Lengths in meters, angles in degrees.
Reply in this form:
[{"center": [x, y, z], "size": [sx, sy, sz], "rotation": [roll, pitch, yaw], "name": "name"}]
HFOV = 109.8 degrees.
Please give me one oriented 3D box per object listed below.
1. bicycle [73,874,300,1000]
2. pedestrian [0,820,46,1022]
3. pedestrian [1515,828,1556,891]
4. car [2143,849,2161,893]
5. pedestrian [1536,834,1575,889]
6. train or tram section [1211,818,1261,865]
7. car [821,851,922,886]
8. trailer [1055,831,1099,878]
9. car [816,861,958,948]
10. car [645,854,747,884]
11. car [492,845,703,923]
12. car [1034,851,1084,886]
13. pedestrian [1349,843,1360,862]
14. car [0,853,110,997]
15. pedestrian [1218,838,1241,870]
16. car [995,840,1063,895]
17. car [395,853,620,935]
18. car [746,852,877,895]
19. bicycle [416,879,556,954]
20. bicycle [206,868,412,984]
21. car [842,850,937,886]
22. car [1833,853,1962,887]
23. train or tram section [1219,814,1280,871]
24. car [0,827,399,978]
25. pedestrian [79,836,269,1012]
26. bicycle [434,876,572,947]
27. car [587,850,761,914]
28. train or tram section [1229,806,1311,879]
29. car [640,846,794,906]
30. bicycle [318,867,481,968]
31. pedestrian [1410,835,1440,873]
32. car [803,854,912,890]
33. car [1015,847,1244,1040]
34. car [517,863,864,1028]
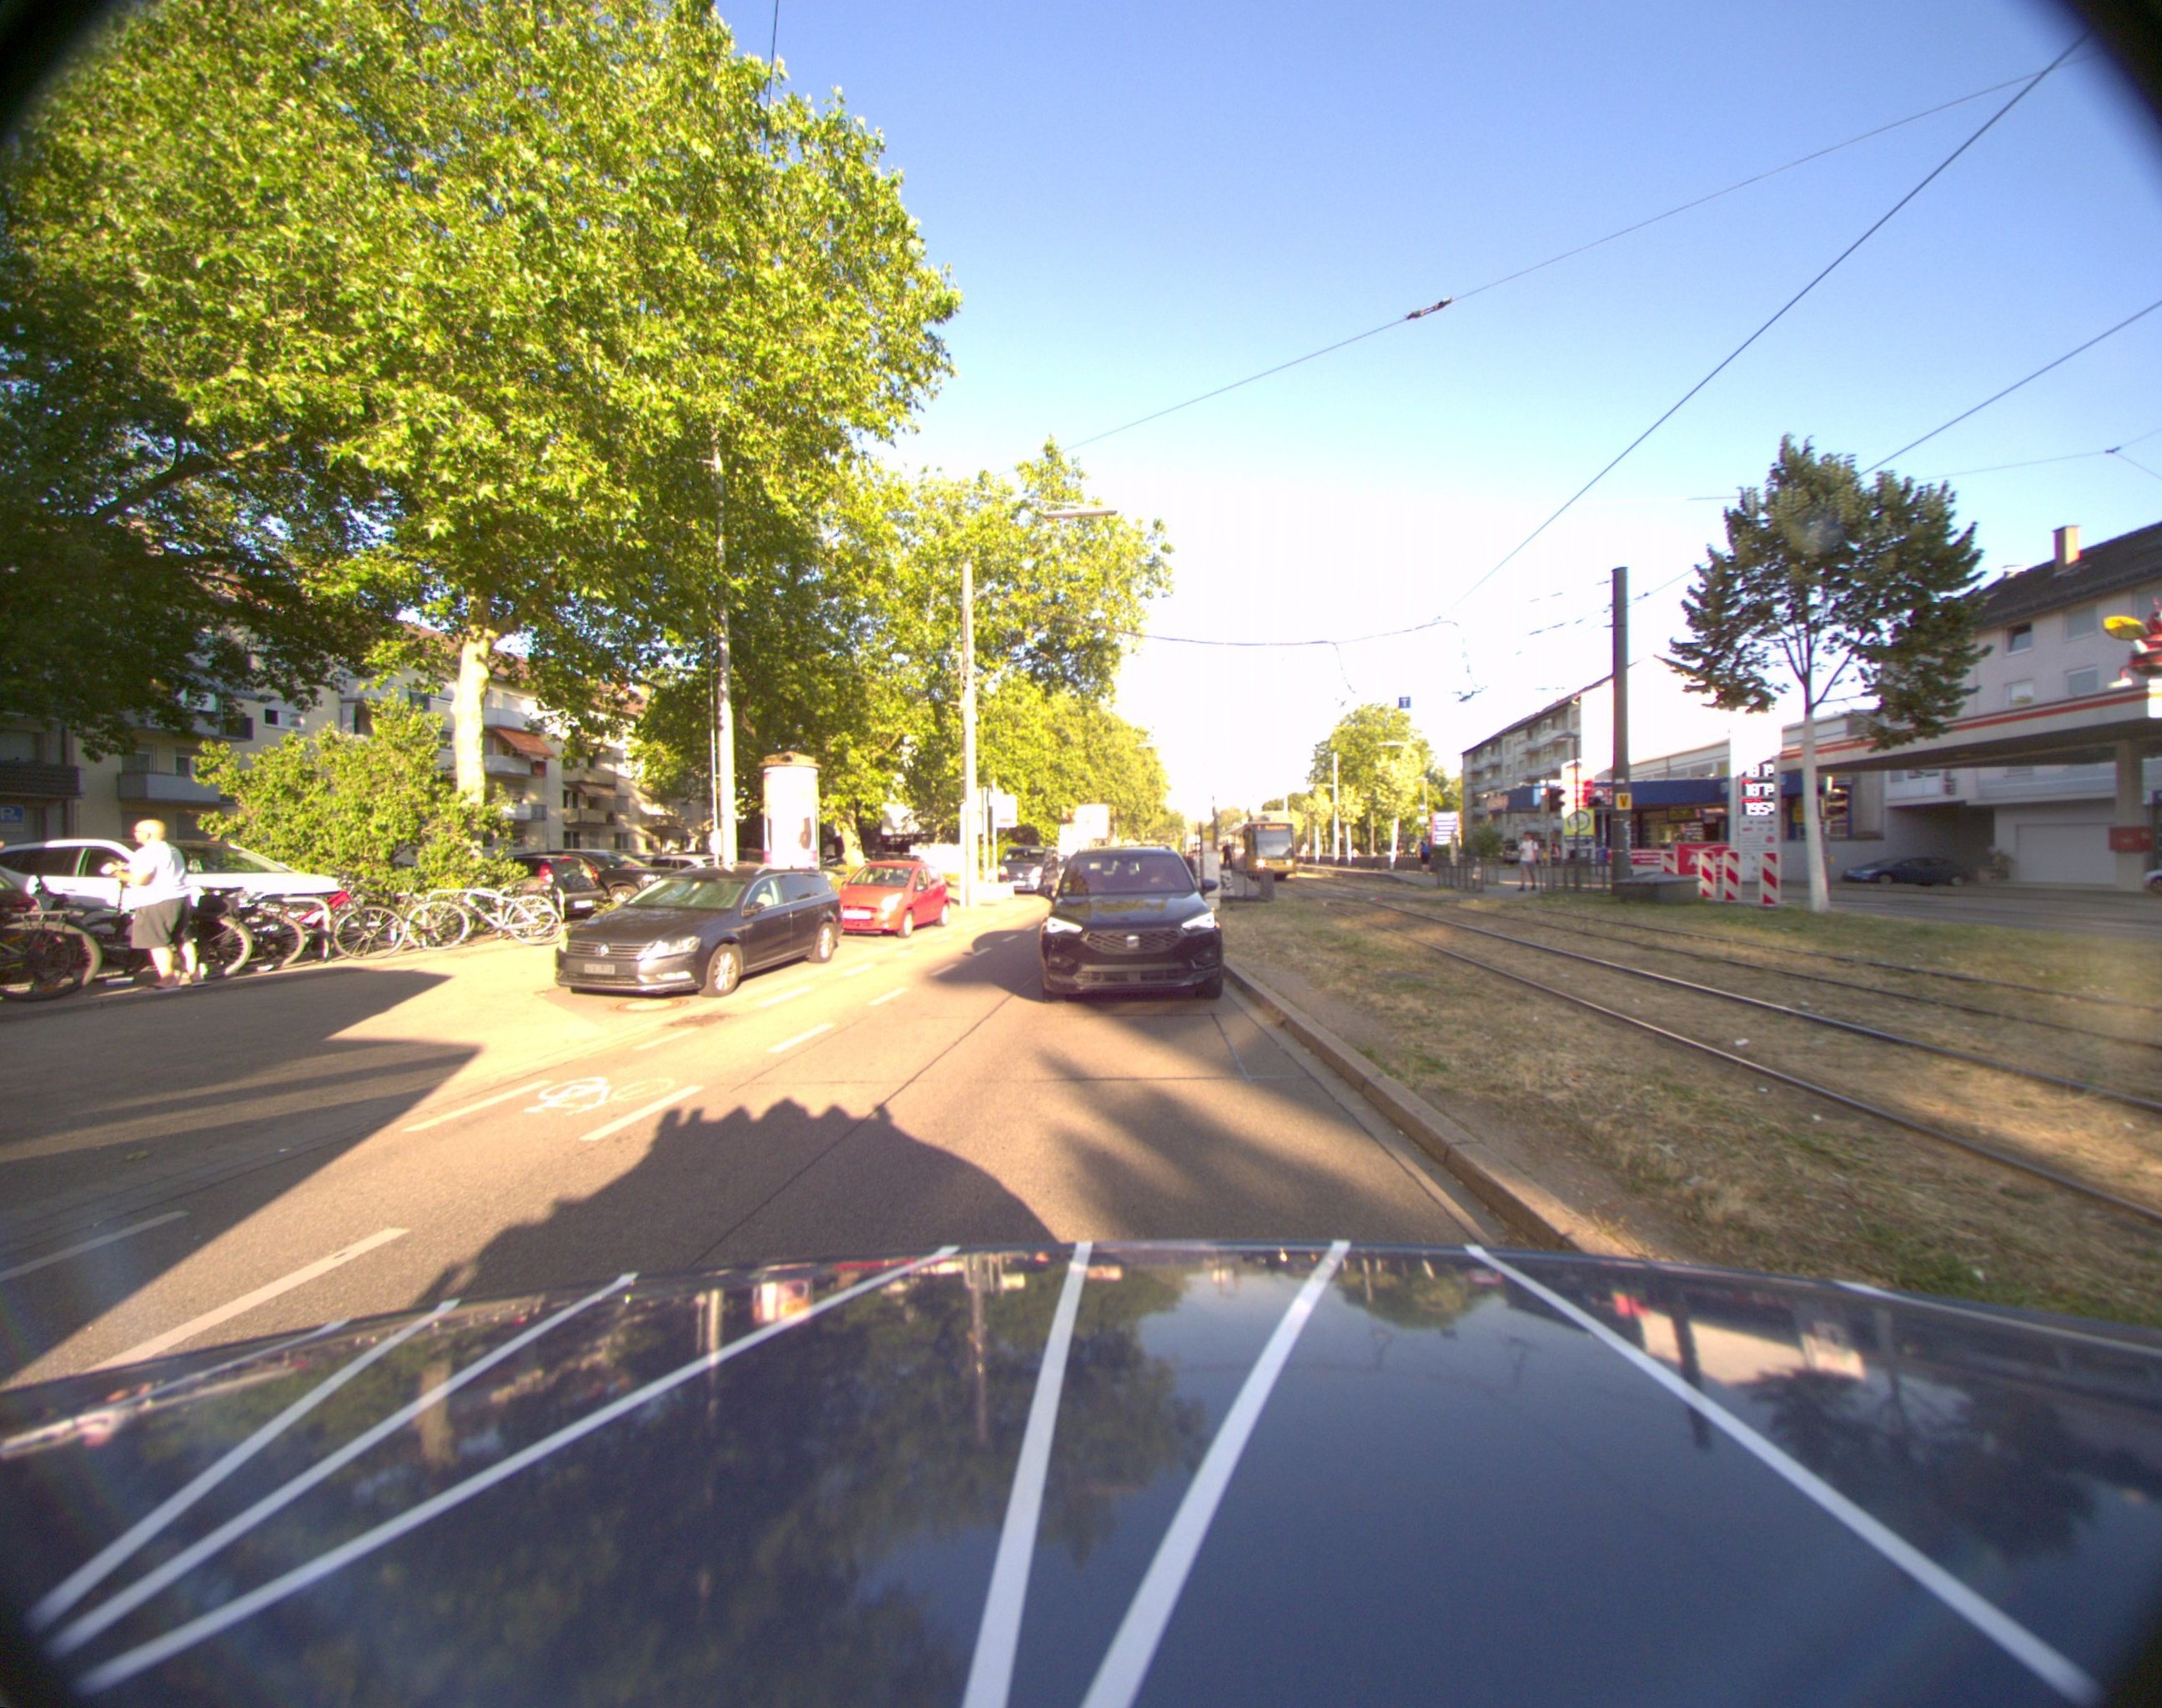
[{"center": [-9.602, 0.853, 8.229], "size": [1.523, 1.219, 0.402], "rotation": [-1, 1, -32], "name": "bicycle"}, {"center": [-9.718, 0.565, 6.451], "size": [0.807, 1.741, 0.769], "rotation": [3, 0, 8], "name": "pedestrian"}, {"center": [14.227, 0.169, 23.775], "size": [0.859, 1.921, 0.755], "rotation": [-1, 1, 5], "name": "pedestrian"}, {"center": [37.565, 0.580, 24.408], "size": [1.815, 1.514, 3.831], "rotation": [0, 0, 8], "name": "car"}, {"center": [15.192, 0.229, 24.332], "size": [0.754, 1.737, 0.860], "rotation": [-1, 1, 5], "name": "pedestrian"}, {"center": [12.444, -0.994, 61.796], "size": [3.041, 3.497, 10.100], "rotation": [0, 1, 7], "name": "train or tram section"}, {"center": [-9.757, 0.671, 35.492], "size": [4.119, 1.590, 1.804], "rotation": [0, 1, 9], "name": "car"}, {"center": [-0.177, -0.002, 44.352], "size": [1.888, 2.573, 4.653], "rotation": [-1, 1, 8], "name": "trailer"}, {"center": [-3.890, 0.943, 15.816], "size": [1.572, 1.486, 3.628], "rotation": [2, 1, 8], "name": "car"}, {"center": [-20.015, 0.773, 39.649], "size": [4.290, 1.487, 2.000], "rotation": [-1, 1, 4], "name": "car"}, {"center": [-11.789, 0.702, 18.688], "size": [4.029, 1.591, 1.857], "rotation": [-4, 0, 7], "name": "car"}, {"center": [-1.035, 0.662, 37.516], "size": [1.799, 1.621, 4.002], "rotation": [0, 0, 8], "name": "car"}, {"center": [27.759, -0.108, 77.070], "size": [0.754, 1.871, 1.001], "rotation": [-4, 0, 7], "name": "pedestrian"}, {"center": [-13.049, 0.775, 7.746], "size": [4.022, 1.424, 2.000], "rotation": [0, 3, 7], "name": "car"}, {"center": [7.335, 0.019, 37.610], "size": [0.918, 1.541, 0.789], "rotation": [-2, 1, -1], "name": "pedestrian"}, {"center": [-2.046, 0.502, 31.248], "size": [1.888, 2.066, 4.565], "rotation": [-1, 0, 8], "name": "car"}, {"center": [-12.199, 0.814, 16.296], "size": [3.504, 1.474, 1.774], "rotation": [-4, 0, 7], "name": "car"}, {"center": [-9.839, 0.690, 27.858], "size": [4.119, 1.486, 1.804], "rotation": [0, 1, 9], "name": "car"}, {"center": [-8.954, 0.918, 11.516], "size": [1.585, 1.008, 0.649], "rotation": [-1, 1, -30], "name": "bicycle"}, {"center": [-9.299, 0.826, 9.243], "size": [1.585, 1.220, 0.650], "rotation": [-3, 1, -30], "name": "bicycle"}, {"center": [-9.486, 0.681, 37.799], "size": [4.119, 1.541, 1.804], "rotation": [-3, 0, 9], "name": "car"}, {"center": [38.169, 0.736, 35.621], "size": [3.801, 1.514, 1.819], "rotation": [-1, 1, 11], "name": "car"}, {"center": [11.269, -0.816, 51.762], "size": [3.041, 3.497, 10.100], "rotation": [0, 1, 7], "name": "train or tram section"}, {"center": [-12.557, 0.653, 10.518], "size": [4.627, 1.699, 2.001], "rotation": [-3, 0, 7], "name": "car"}, {"center": [-9.054, 0.664, 7.634], "size": [0.661, 1.627, 0.990], "rotation": [3, 0, 0], "name": "pedestrian"}, {"center": [-9.213, 0.893, 12.197], "size": [1.682, 1.008, 0.649], "rotation": [-1, 1, -30], "name": "bicycle"}, {"center": [-11.326, 0.764, 21.275], "size": [3.847, 1.486, 1.857], "rotation": [-4, 0, 9], "name": "car"}, {"center": [10.107, -0.633, 41.721], "size": [3.041, 3.497, 10.100], "rotation": [0, 1, 7], "name": "train or tram section"}, {"center": [-11.218, 0.665, 23.521], "size": [3.847, 1.622, 1.857], "rotation": [-3, 0, 9], "name": "car"}, {"center": [-9.128, 0.807, 10.260], "size": [1.586, 1.219, 0.645], "rotation": [-1, 1, -39], "name": "bicycle"}, {"center": [15.542, 0.008, 34.350], "size": [0.936, 1.644, 0.926], "rotation": [-3, 0, 8], "name": "pedestrian"}, {"center": [-9.680, 0.765, 33.068], "size": [4.119, 1.486, 1.804], "rotation": [0, 1, 9], "name": "car"}, {"center": [0.523, 0.781, 8.649], "size": [1.910, 1.606, 4.086], "rotation": [-3, 0, 3], "name": "car"}, {"center": [-4.683, 0.949, 10.076], "size": [1.700, 1.522, 4.654], "rotation": [2, 1, 8], "name": "car"}]
